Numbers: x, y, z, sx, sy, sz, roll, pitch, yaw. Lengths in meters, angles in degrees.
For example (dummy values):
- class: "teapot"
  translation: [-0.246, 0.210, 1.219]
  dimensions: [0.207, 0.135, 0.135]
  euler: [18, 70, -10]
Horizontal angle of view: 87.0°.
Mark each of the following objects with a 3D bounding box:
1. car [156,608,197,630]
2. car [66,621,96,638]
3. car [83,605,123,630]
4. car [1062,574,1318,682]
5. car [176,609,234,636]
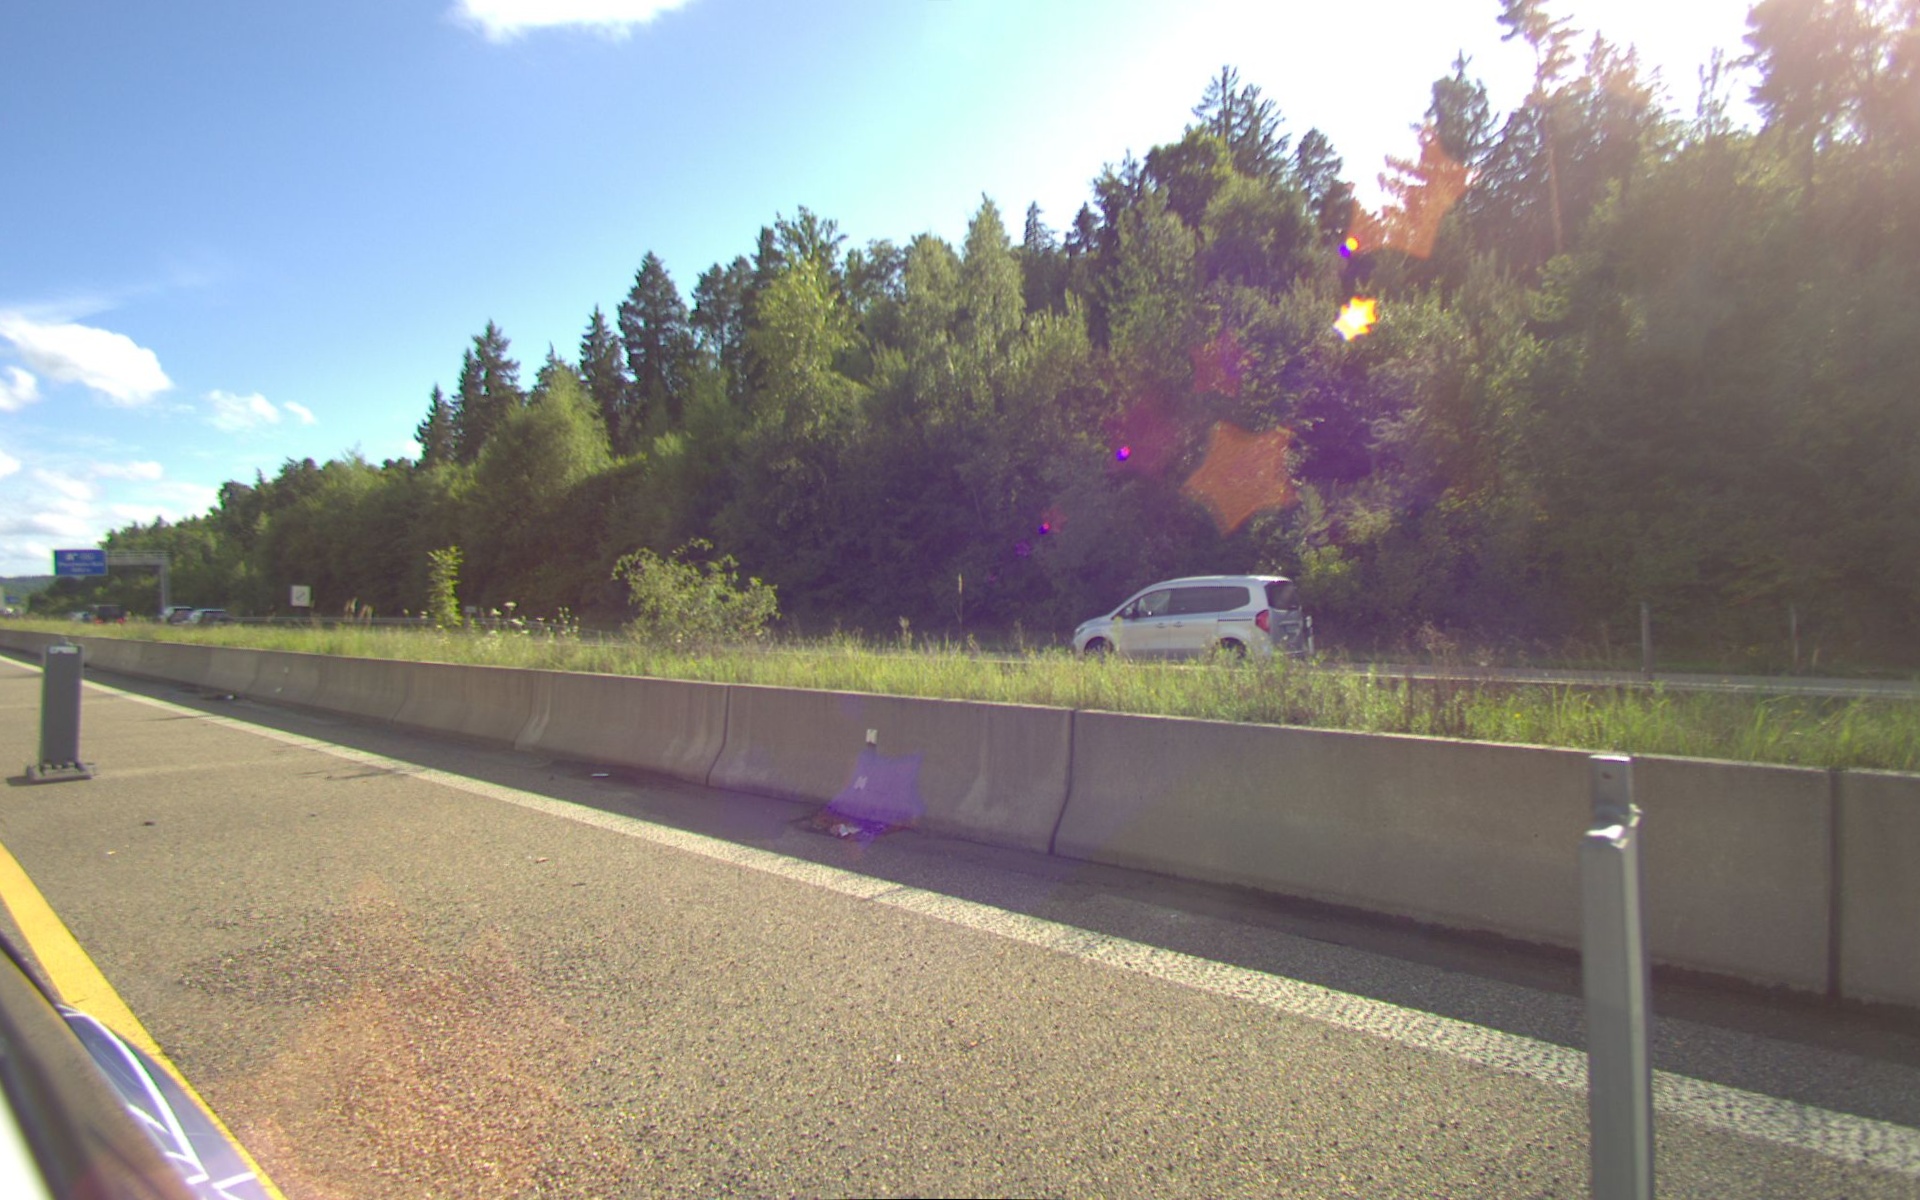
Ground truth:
- class: "car"
  translation: [-62.276, 1.499, 80.394]
  dimensions: [4.615, 1.701, 1.759]
  euler: [-1, 0, 41]
- class: "car"
  translation: [-90.182, 2.987, 103.790]
  dimensions: [4.309, 1.614, 1.759]
  euler: [-1, 0, 41]
- class: "car"
  translation: [-68.410, 1.397, 80.769]
  dimensions: [4.615, 1.917, 1.759]
  euler: [-1, 0, 41]
- class: "car"
  translation: [4.201, 0.470, 18.942]
  dimensions: [4.363, 1.799, 1.759]
  euler: [-1, 0, 41]
- class: "car"
  translation: [-42.195, 1.228, 56.552]
  dimensions: [4.102, 1.467, 1.759]
  euler: [-1, 0, 41]
